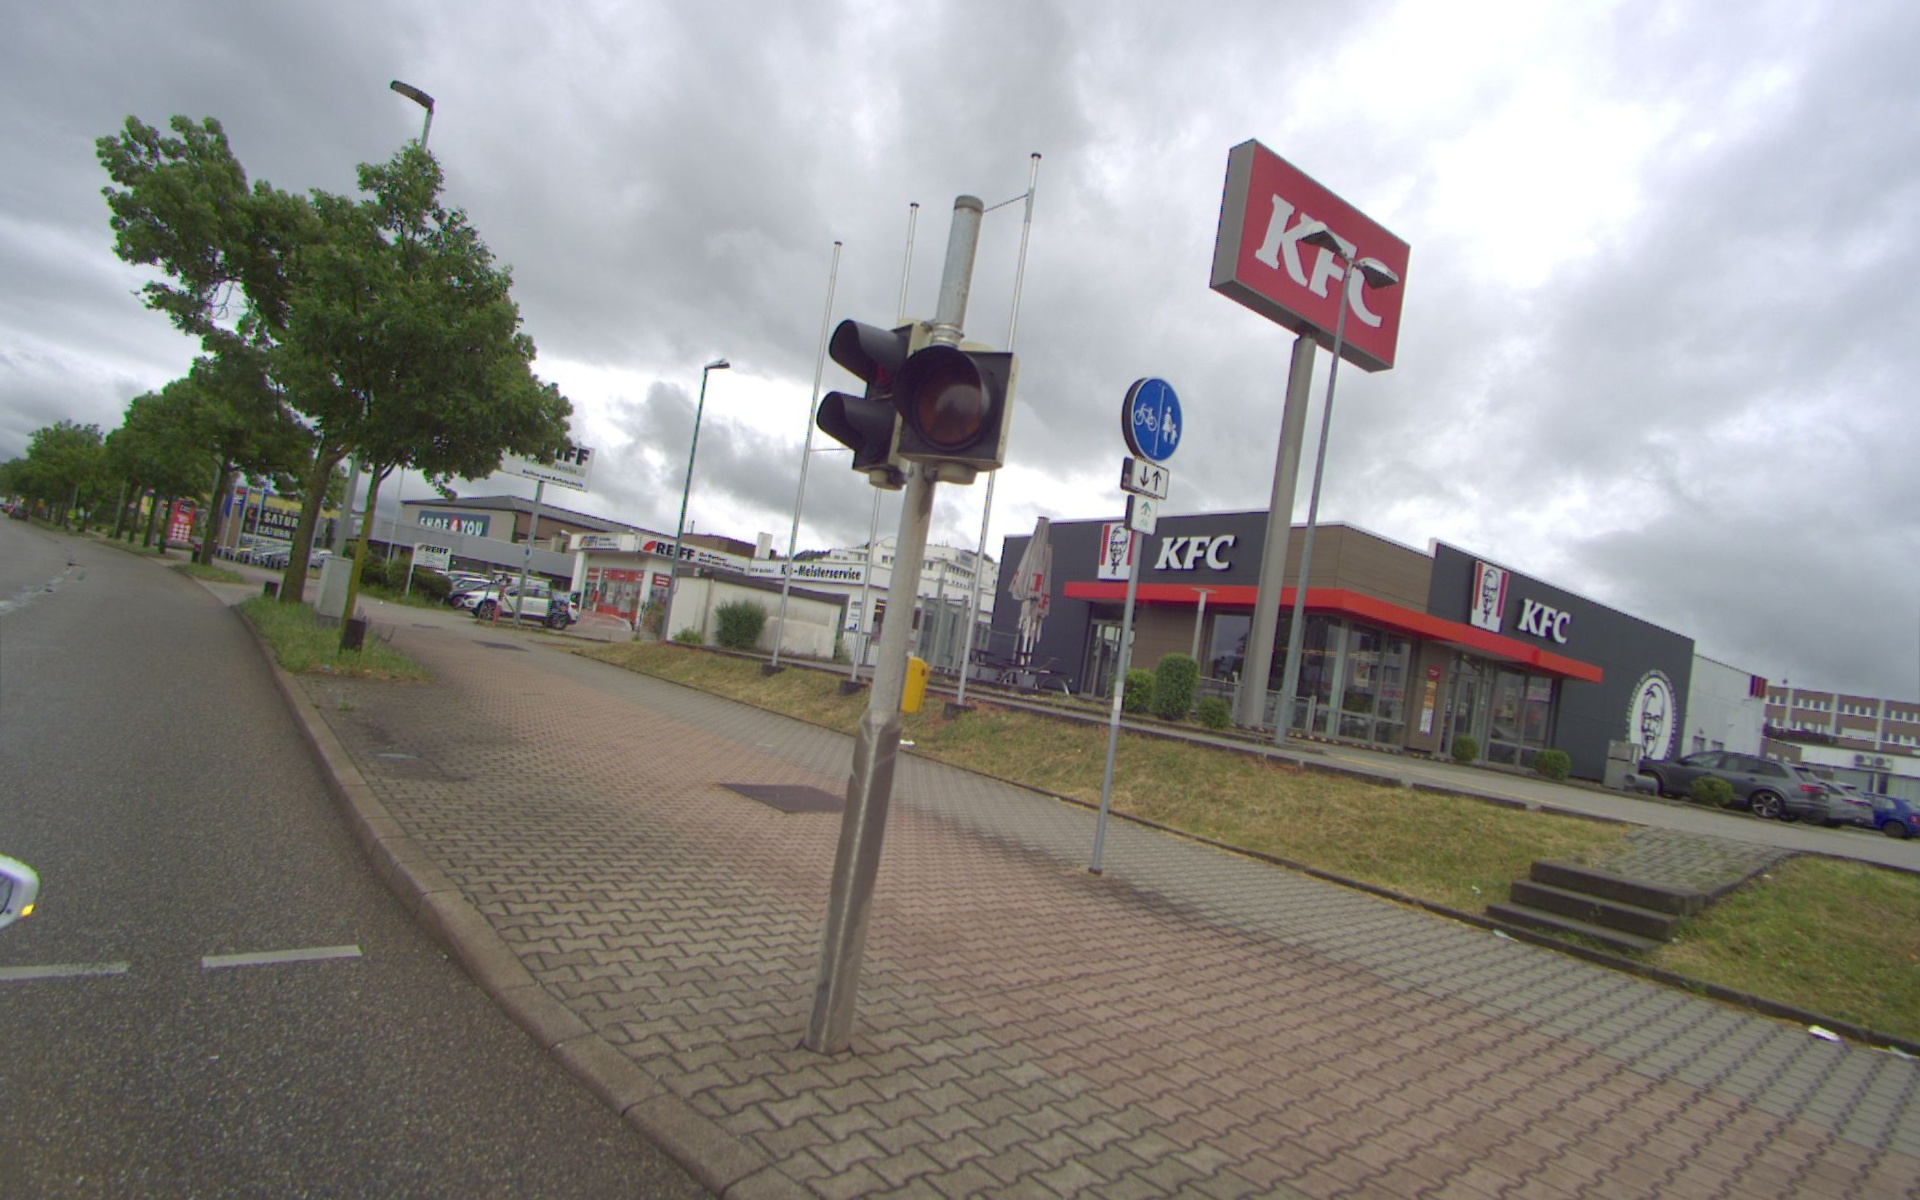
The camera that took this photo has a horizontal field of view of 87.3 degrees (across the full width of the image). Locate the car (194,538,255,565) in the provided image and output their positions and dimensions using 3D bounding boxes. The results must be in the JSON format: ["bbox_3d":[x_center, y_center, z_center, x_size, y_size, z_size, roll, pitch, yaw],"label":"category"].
[{"bbox_3d":[-61.101,-3.990,83.594,3.832,1.622,1.773,9,-2,-44],"label":"car"}]

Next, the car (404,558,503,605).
[{"bbox_3d":[-25.556,-0.912,50.899,4.101,1.681,1.813,10,-1,-20],"label":"car"}]

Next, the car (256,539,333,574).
[{"bbox_3d":[-44.362,-2.892,67.079,3.972,1.808,1.791,6,0,-43],"label":"car"}]

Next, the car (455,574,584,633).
[{"bbox_3d":[-17.047,0.157,38.977,4.156,1.568,1.872,11,-4,-36],"label":"car"}]

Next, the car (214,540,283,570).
[{"bbox_3d":[-54.796,-3.421,77.552,1.777,1.555,3.982,6,-4,45],"label":"car"}]

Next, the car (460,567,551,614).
[{"bbox_3d":[-28.769,-0.576,63.802,1.940,2.172,4.647,6,-4,45],"label":"car"}]

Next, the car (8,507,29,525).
[{"bbox_3d":[-123.069,-10.992,131.572,1.742,2.035,3.951,11,-4,-43],"label":"car"}]

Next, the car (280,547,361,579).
[{"bbox_3d":[-39.353,-2.262,61.939,1.805,1.479,3.822,6,-1,45],"label":"car"}]

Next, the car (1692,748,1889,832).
[{"bbox_3d":[26.509,6.040,32.259,1.878,1.759,4.459,10,-4,-36],"label":"car"}]

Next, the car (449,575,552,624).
[{"bbox_3d":[-20.747,-0.020,45.459,3.959,1.539,1.706,10,-3,-29],"label":"car"}]

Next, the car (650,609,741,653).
[{"bbox_3d":[-13.087,1.546,49.893,3.840,1.494,1.767,13,-5,-42],"label":"car"}]

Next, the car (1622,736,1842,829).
[{"bbox_3d":[22.650,5.331,29.695,1.878,1.759,4.697,10,-4,-36],"label":"car"}]

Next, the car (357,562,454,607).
[{"bbox_3d":[-28.563,-0.785,51.992,4.019,1.614,1.975,10,-3,-24],"label":"car"}]

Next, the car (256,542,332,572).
[{"bbox_3d":[-45.761,-2.926,69.149,1.788,1.608,3.975,7,1,44],"label":"car"}]

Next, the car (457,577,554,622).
[{"bbox_3d":[-21.592,-0.013,47.820,3.900,1.540,1.720,10,-3,-29],"label":"car"}]

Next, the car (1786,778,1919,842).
[{"bbox_3d":[32.856,7.657,36.600,1.729,1.502,3.993,11,-3,-39],"label":"car"}]

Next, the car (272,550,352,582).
[{"bbox_3d":[-41.108,-2.173,63.890,3.972,1.562,1.791,6,-1,-43],"label":"car"}]
